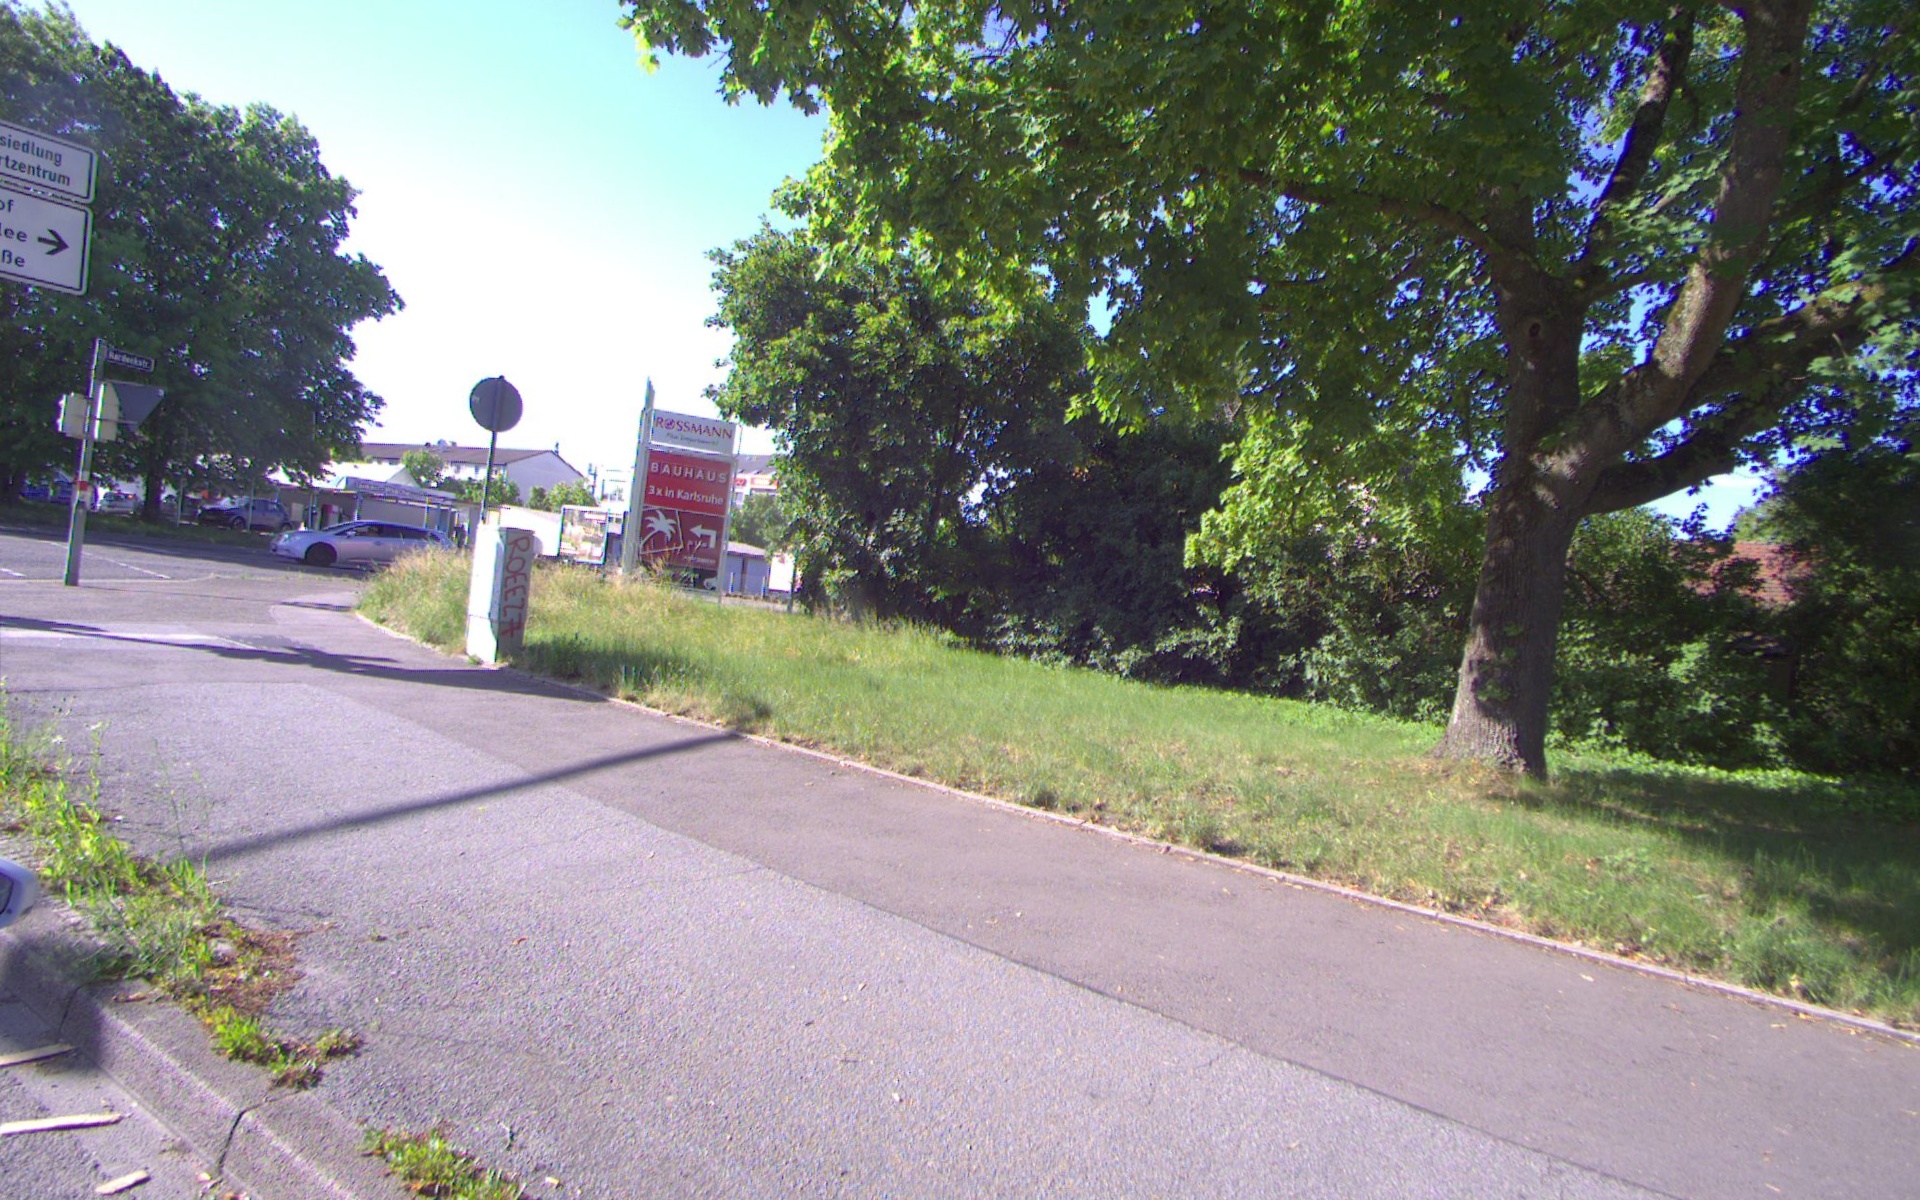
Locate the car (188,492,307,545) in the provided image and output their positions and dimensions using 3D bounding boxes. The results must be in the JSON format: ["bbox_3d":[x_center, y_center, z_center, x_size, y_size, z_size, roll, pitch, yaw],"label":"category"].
[{"bbox_3d":[-30.290,-3.426,42.913,1.712,1.701,4.001,7,0,9],"label":"car"}]

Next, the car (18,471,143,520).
[{"bbox_3d":[-39.173,-4.626,44.927,1.712,1.537,3.902,7,0,9],"label":"car"}]

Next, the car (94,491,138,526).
[{"bbox_3d":[-47.503,-5.162,56.678,1.732,1.701,3.955,6,1,-40],"label":"car"}]

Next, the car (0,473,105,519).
[{"bbox_3d":[-41.984,-4.767,46.152,1.712,1.537,3.902,7,0,9],"label":"car"}]

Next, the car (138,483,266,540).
[{"bbox_3d":[-32.324,-3.739,43.053,1.962,1.771,4.002,7,0,9],"label":"car"}]

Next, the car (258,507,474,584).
[{"bbox_3d":[-17.113,-1.542,29.184,1.973,1.504,4.994,7,0,43],"label":"car"}]
